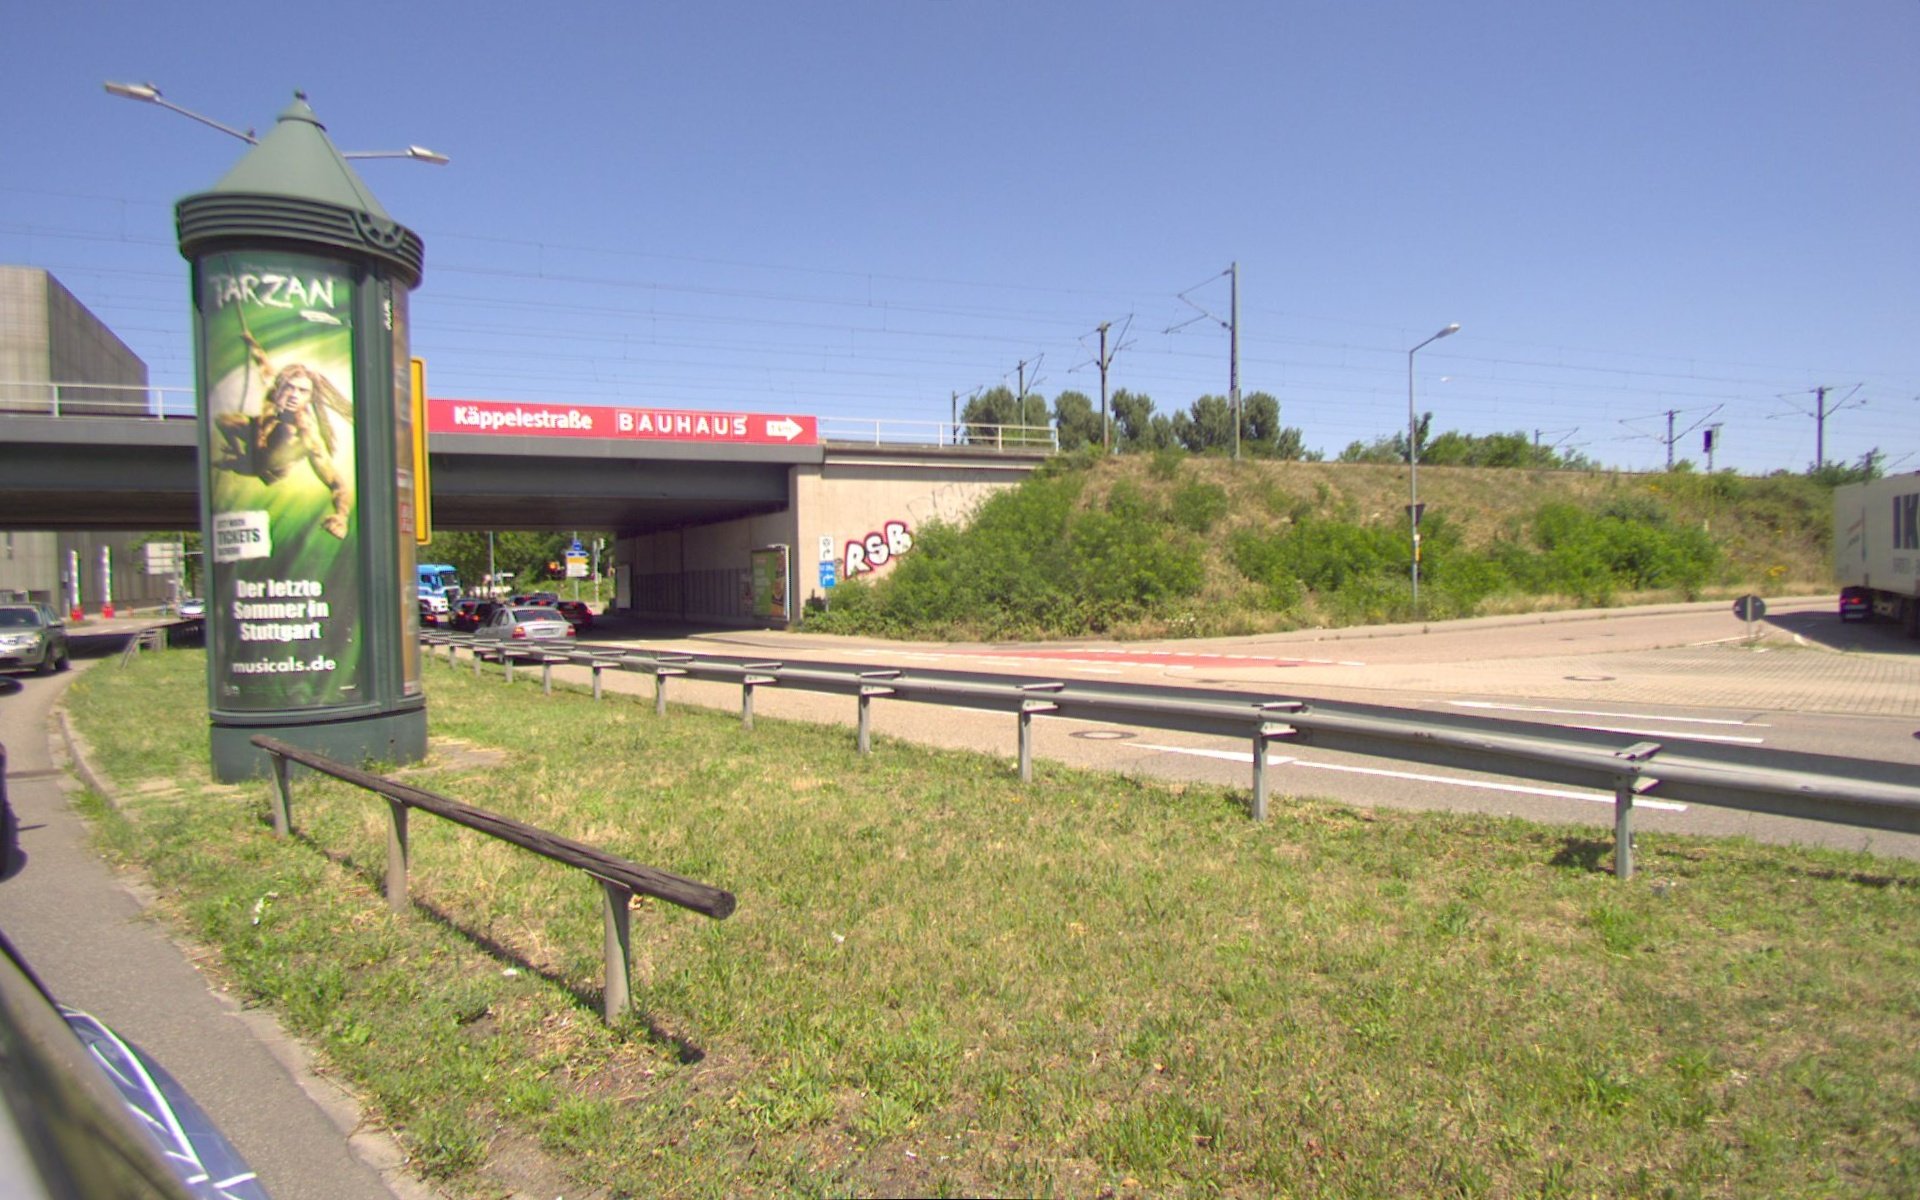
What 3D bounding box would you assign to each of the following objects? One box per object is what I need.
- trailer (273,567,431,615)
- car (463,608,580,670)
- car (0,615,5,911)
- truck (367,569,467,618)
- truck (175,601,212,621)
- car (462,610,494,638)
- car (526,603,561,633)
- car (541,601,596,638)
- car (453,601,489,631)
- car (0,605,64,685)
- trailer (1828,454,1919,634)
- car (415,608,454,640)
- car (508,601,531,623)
[{"bbox_3d":[-46.514,-0.620,77.208,13.807,3.398,2.942,-1,0,24],"label":"trailer"},{"bbox_3d":[-11.063,0.920,25.382,1.613,1.413,4.229,1,-1,-39],"label":"car"},{"bbox_3d":[-6.648,0.812,5.727,4.058,1.428,1.658,-1,0,45],"label":"car"},{"bbox_3d":[-40.089,-0.464,74.706,6.521,3.443,3.001,-1,0,22],"label":"truck"},{"bbox_3d":[-59.064,0.843,78.017,1.702,1.513,4.013,-1,0,-28],"label":"truck"},{"bbox_3d":[-22.120,1.064,46.478,1.250,1.194,2.787,-1,0,-25],"label":"car"},{"bbox_3d":[-21.897,0.903,53.161,1.548,1.514,3.418,-1,0,-25],"label":"car"},{"bbox_3d":[-18.622,0.896,48.033,1.747,1.680,4.027,-1,0,-31],"label":"car"},{"bbox_3d":[-25.057,0.790,51.954,1.592,1.487,3.444,-1,0,-25],"label":"car"},{"bbox_3d":[-22.046,0.995,23.333,1.817,1.708,3.707,-1,0,-38],"label":"car"},{"bbox_3d":[24.107,-1.311,23.927,3.010,4.081,12.574,-2,-1,30],"label":"trailer"},{"bbox_3d":[-23.329,1.043,44.973,1.388,1.329,3.272,-1,0,-25],"label":"car"},{"bbox_3d":[-25.459,0.672,58.434,1.166,1.257,2.701,-1,0,-25],"label":"car"}]
